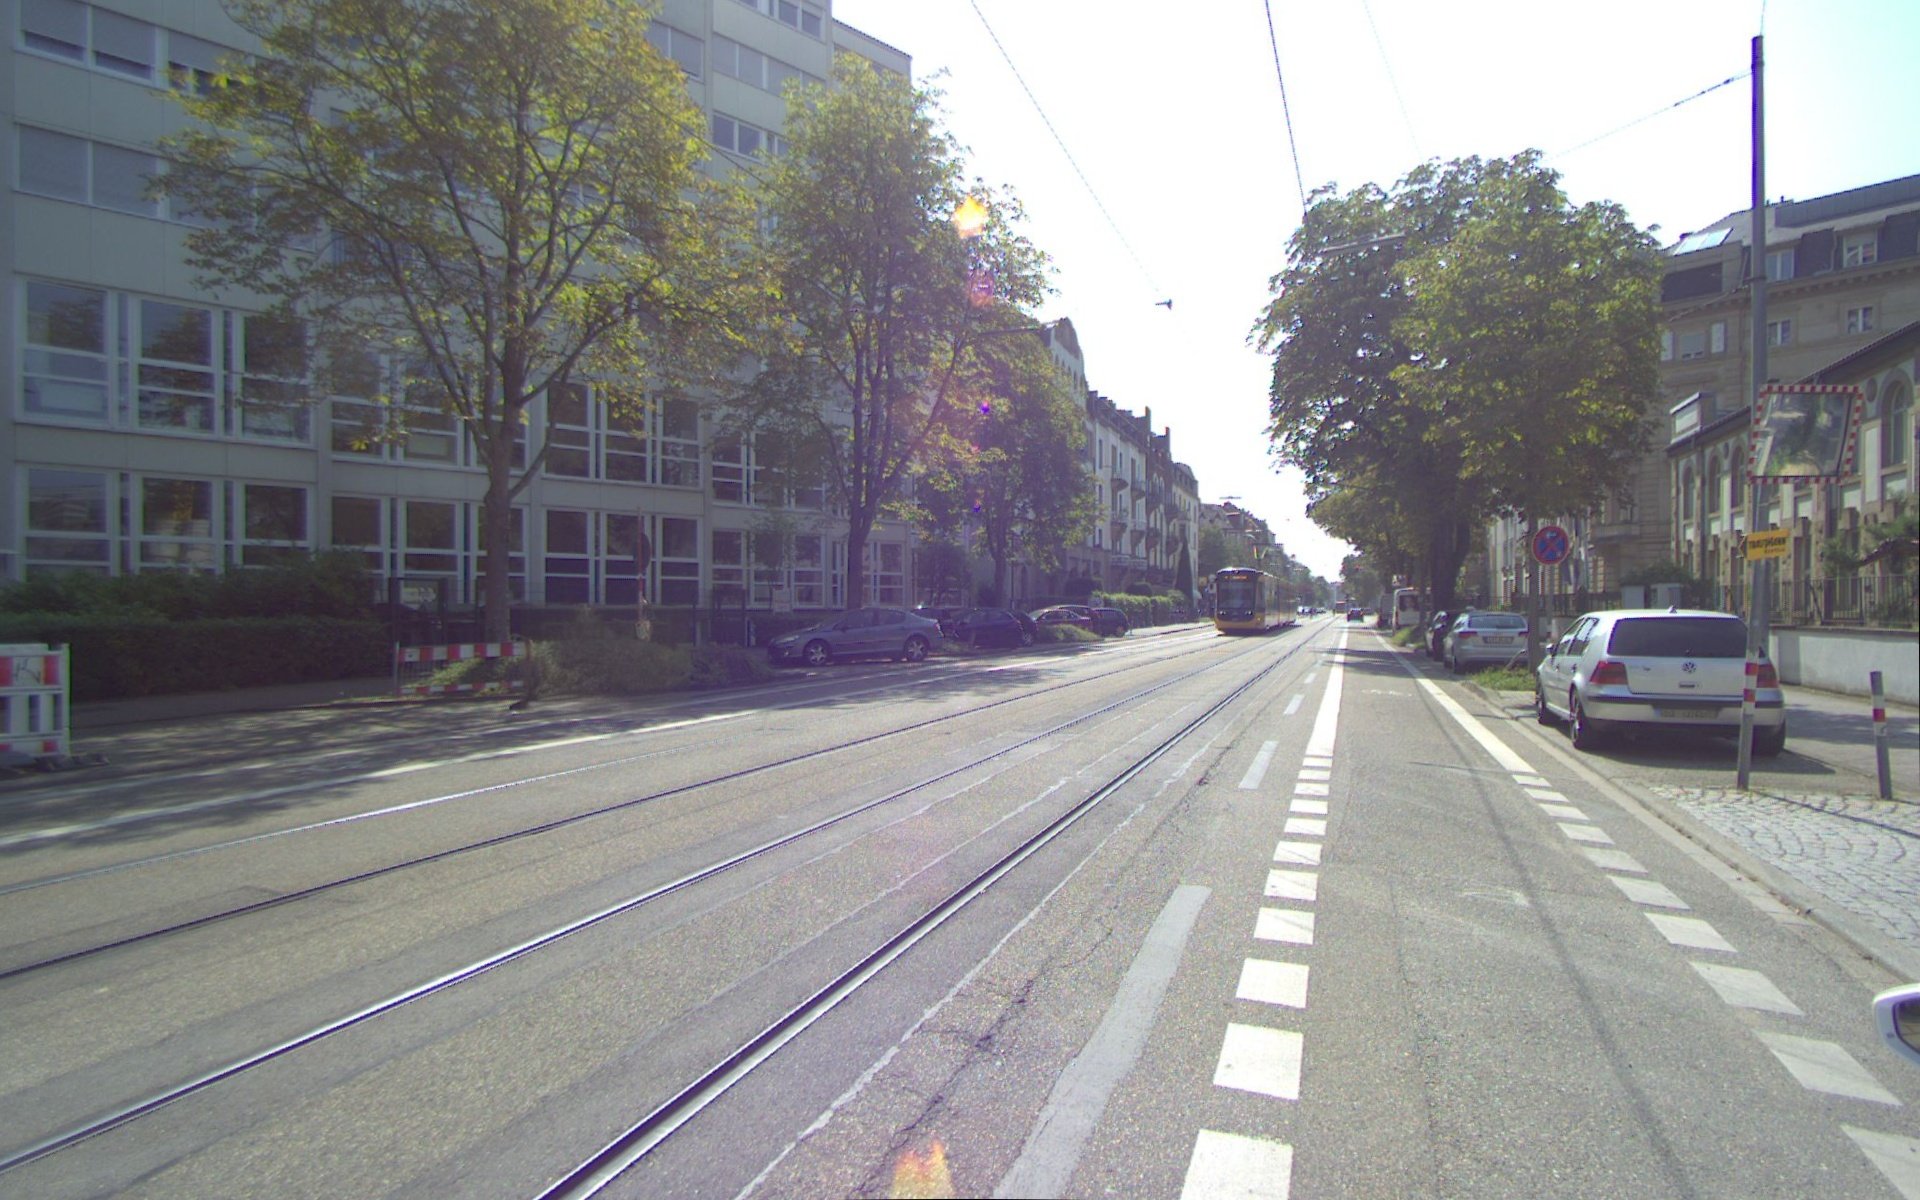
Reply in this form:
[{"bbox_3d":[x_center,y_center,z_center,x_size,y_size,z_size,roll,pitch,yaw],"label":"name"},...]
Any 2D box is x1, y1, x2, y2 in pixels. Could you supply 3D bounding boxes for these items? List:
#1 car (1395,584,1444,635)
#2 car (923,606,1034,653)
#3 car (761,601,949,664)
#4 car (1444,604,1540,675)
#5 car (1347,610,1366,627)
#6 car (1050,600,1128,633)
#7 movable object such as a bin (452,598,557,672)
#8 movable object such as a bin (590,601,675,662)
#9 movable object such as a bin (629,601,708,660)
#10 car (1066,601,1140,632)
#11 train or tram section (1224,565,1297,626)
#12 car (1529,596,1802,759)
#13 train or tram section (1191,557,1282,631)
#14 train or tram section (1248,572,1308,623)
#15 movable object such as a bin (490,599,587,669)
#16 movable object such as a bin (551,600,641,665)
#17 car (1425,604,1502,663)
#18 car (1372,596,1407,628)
[{"bbox_3d":[22.578,0.466,49.465,1.961,2.397,3.999,1,0,22],"label":"car"},{"bbox_3d":[0.635,1.020,35.117,3.531,1.595,1.669,1,-1,-20],"label":"car"},{"bbox_3d":[-2.735,0.801,26.332,4.624,1.471,1.666,-1,0,-25],"label":"car"},{"bbox_3d":[12.454,0.887,23.692,1.614,1.531,3.640,0,-1,22],"label":"car"},{"bbox_3d":[44.608,2.094,112.899,1.961,1.825,3.999,1,0,22],"label":"car"},{"bbox_3d":[6.441,0.812,50.209,3.531,1.595,1.669,1,-1,-20],"label":"car"},{"bbox_3d":[-10.077,0.764,22.271,1.655,1.580,1.354,-1,-1,21],"label":"movable object such as a bin"},{"bbox_3d":[-8.703,0.825,26.719,1.655,1.580,1.354,-1,-1,21],"label":"movable object such as a bin"},{"bbox_3d":[-8.139,0.844,28.083,1.655,1.580,1.354,-1,-1,21],"label":"movable object such as a bin"},{"bbox_3d":[7.556,0.864,53.175,3.531,1.595,1.669,1,-1,-20],"label":"car"},{"bbox_3d":[20.597,-0.255,68.259,3.441,3.754,12.406,0,0,23],"label":"train or tram section"},{"bbox_3d":[7.517,0.744,11.101,1.763,1.465,3.730,-1,-1,24],"label":"car"},{"bbox_3d":[15.868,-0.287,56.813,3.441,3.754,12.406,0,0,23],"label":"train or tram section"},{"bbox_3d":[25.363,-0.177,79.729,3.441,3.754,12.406,0,0,23],"label":"train or tram section"},{"bbox_3d":[-9.959,0.792,23.773,1.655,1.580,1.354,-1,-1,21],"label":"movable object such as a bin"},{"bbox_3d":[-9.113,0.806,25.206,1.655,1.580,1.354,-1,-1,21],"label":"movable object such as a bin"},{"bbox_3d":[14.493,0.917,29.093,1.766,1.598,3.997,0,0,24],"label":"car"},{"bbox_3d":[32.013,0.891,74.938,1.960,2.263,4.001,0,-1,17],"label":"car"}]
